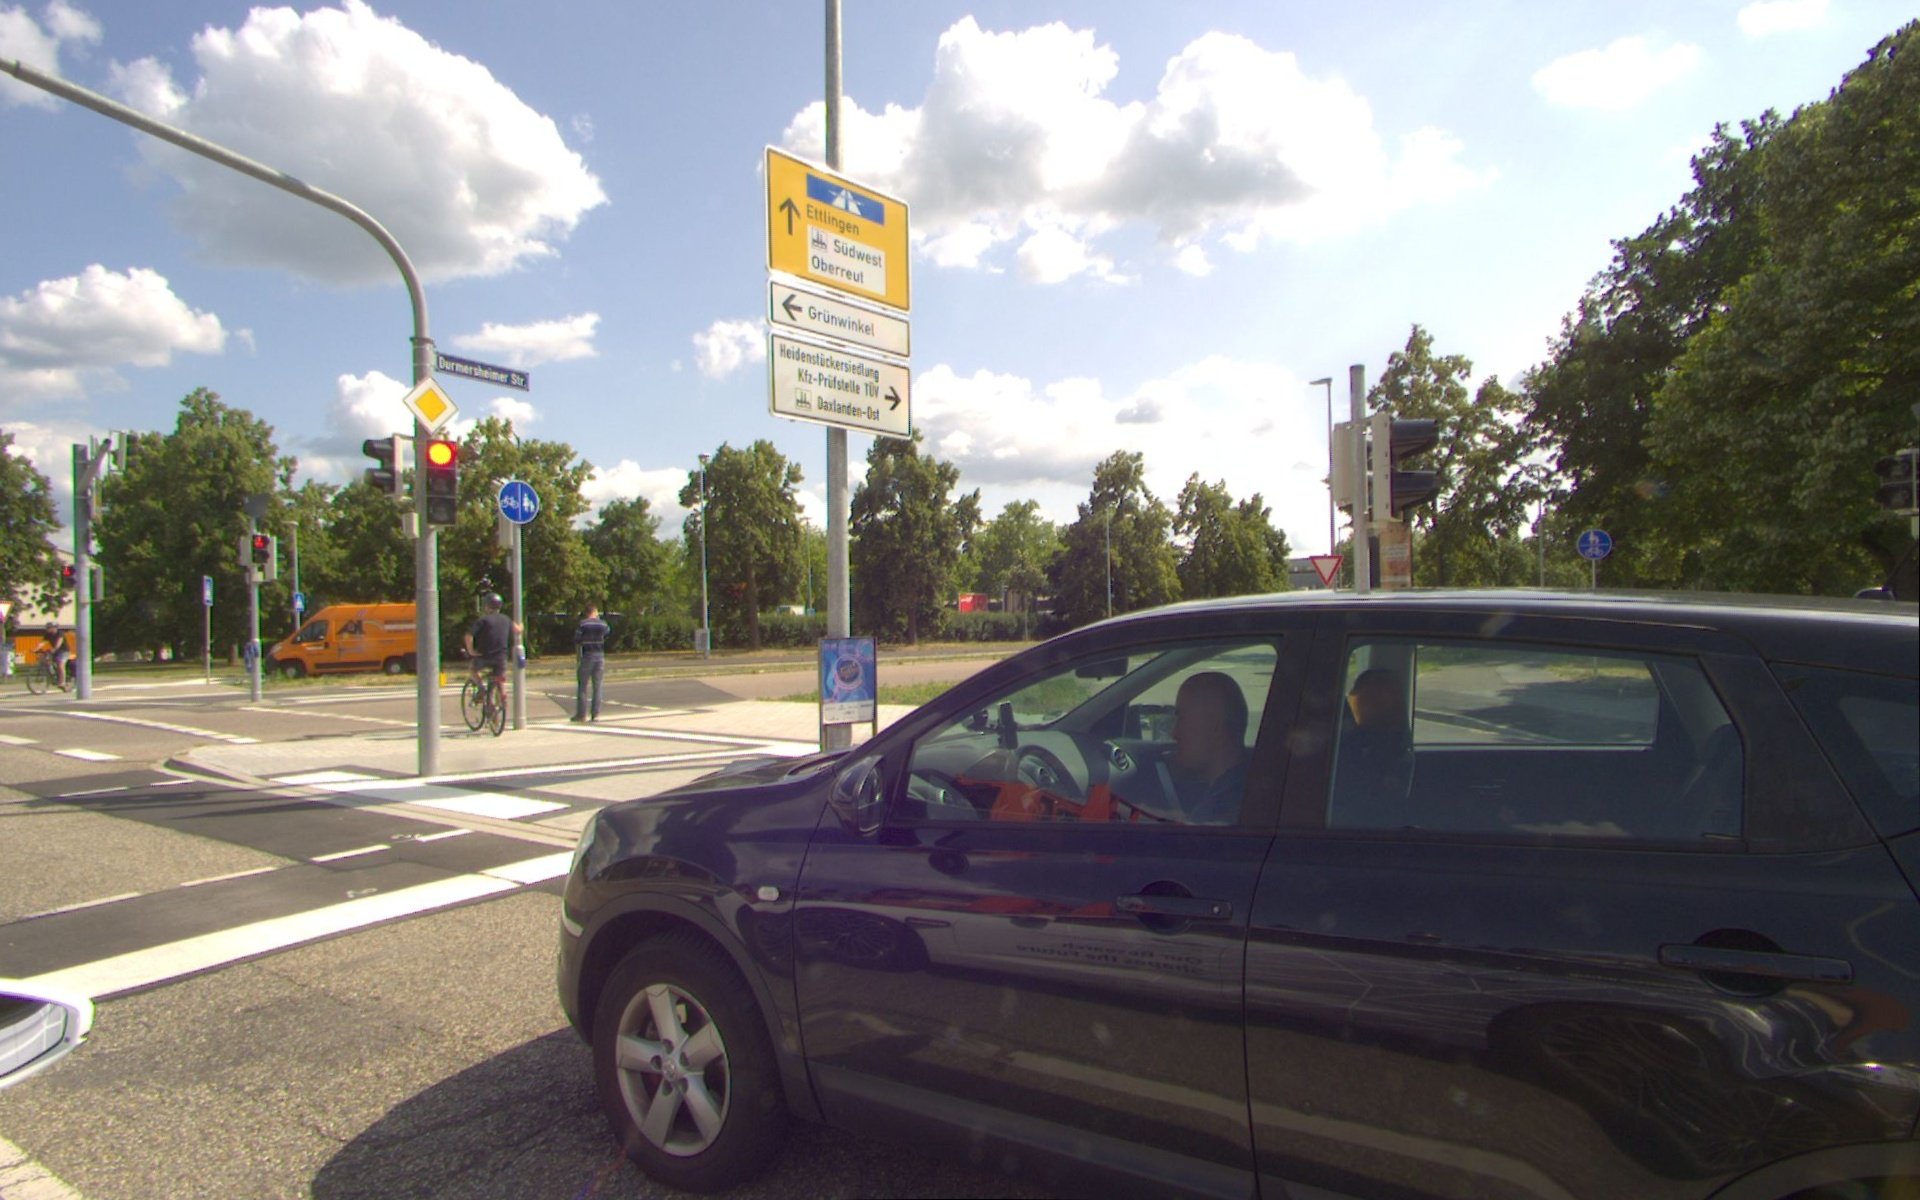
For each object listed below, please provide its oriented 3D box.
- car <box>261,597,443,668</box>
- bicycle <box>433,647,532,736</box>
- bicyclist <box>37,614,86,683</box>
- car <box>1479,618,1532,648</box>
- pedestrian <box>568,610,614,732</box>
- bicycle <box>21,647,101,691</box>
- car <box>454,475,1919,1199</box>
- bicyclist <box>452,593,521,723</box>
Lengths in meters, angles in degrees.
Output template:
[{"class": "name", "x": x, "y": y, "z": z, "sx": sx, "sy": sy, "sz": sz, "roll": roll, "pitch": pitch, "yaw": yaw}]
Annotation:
[{"class": "car", "x": -20.219, "y": 1.150, "z": 33.596, "sx": 4.775, "sy": 2.253, "sz": 2.209, "roll": 1, "pitch": -3, "yaw": -18}, {"class": "bicycle", "x": -6.498, "y": 1.208, "z": 13.576, "sx": 0.644, "sy": 1.121, "sz": 1.910, "roll": 3, "pitch": -4, "yaw": -43}, {"class": "bicyclist", "x": -24.593, "y": 1.322, "z": 27.422, "sx": 0.673, "sy": 1.827, "sz": 0.789, "roll": -1, "pitch": -1, "yaw": -10}, {"class": "car", "x": 23.186, "y": 1.435, "z": 42.643, "sx": 1.886, "sy": 1.192, "sz": 3.767, "roll": -2, "pitch": -4, "yaw": 27}, {"class": "pedestrian", "x": -5.583, "y": 1.067, "z": 15.167, "sx": 0.477, "sy": 1.800, "sz": 0.462, "roll": -2, "pitch": -3, "yaw": 42}, {"class": "bicycle", "x": -24.600, "y": 1.870, "z": 27.458, "sx": 0.673, "sy": 1.107, "sz": 2.003, "roll": 0, "pitch": -2, "yaw": -10}, {"class": "car", "x": 0.648, "y": 0.703, "z": 2.758, "sx": 3.941, "sy": 1.571, "sz": 1.798, "roll": -2, "pitch": -4, "yaw": 31}, {"class": "bicyclist", "x": -6.364, "y": 0.783, "z": 13.453, "sx": 0.644, "sy": 1.682, "sz": 0.644, "roll": 2, "pitch": -4, "yaw": -44}]
